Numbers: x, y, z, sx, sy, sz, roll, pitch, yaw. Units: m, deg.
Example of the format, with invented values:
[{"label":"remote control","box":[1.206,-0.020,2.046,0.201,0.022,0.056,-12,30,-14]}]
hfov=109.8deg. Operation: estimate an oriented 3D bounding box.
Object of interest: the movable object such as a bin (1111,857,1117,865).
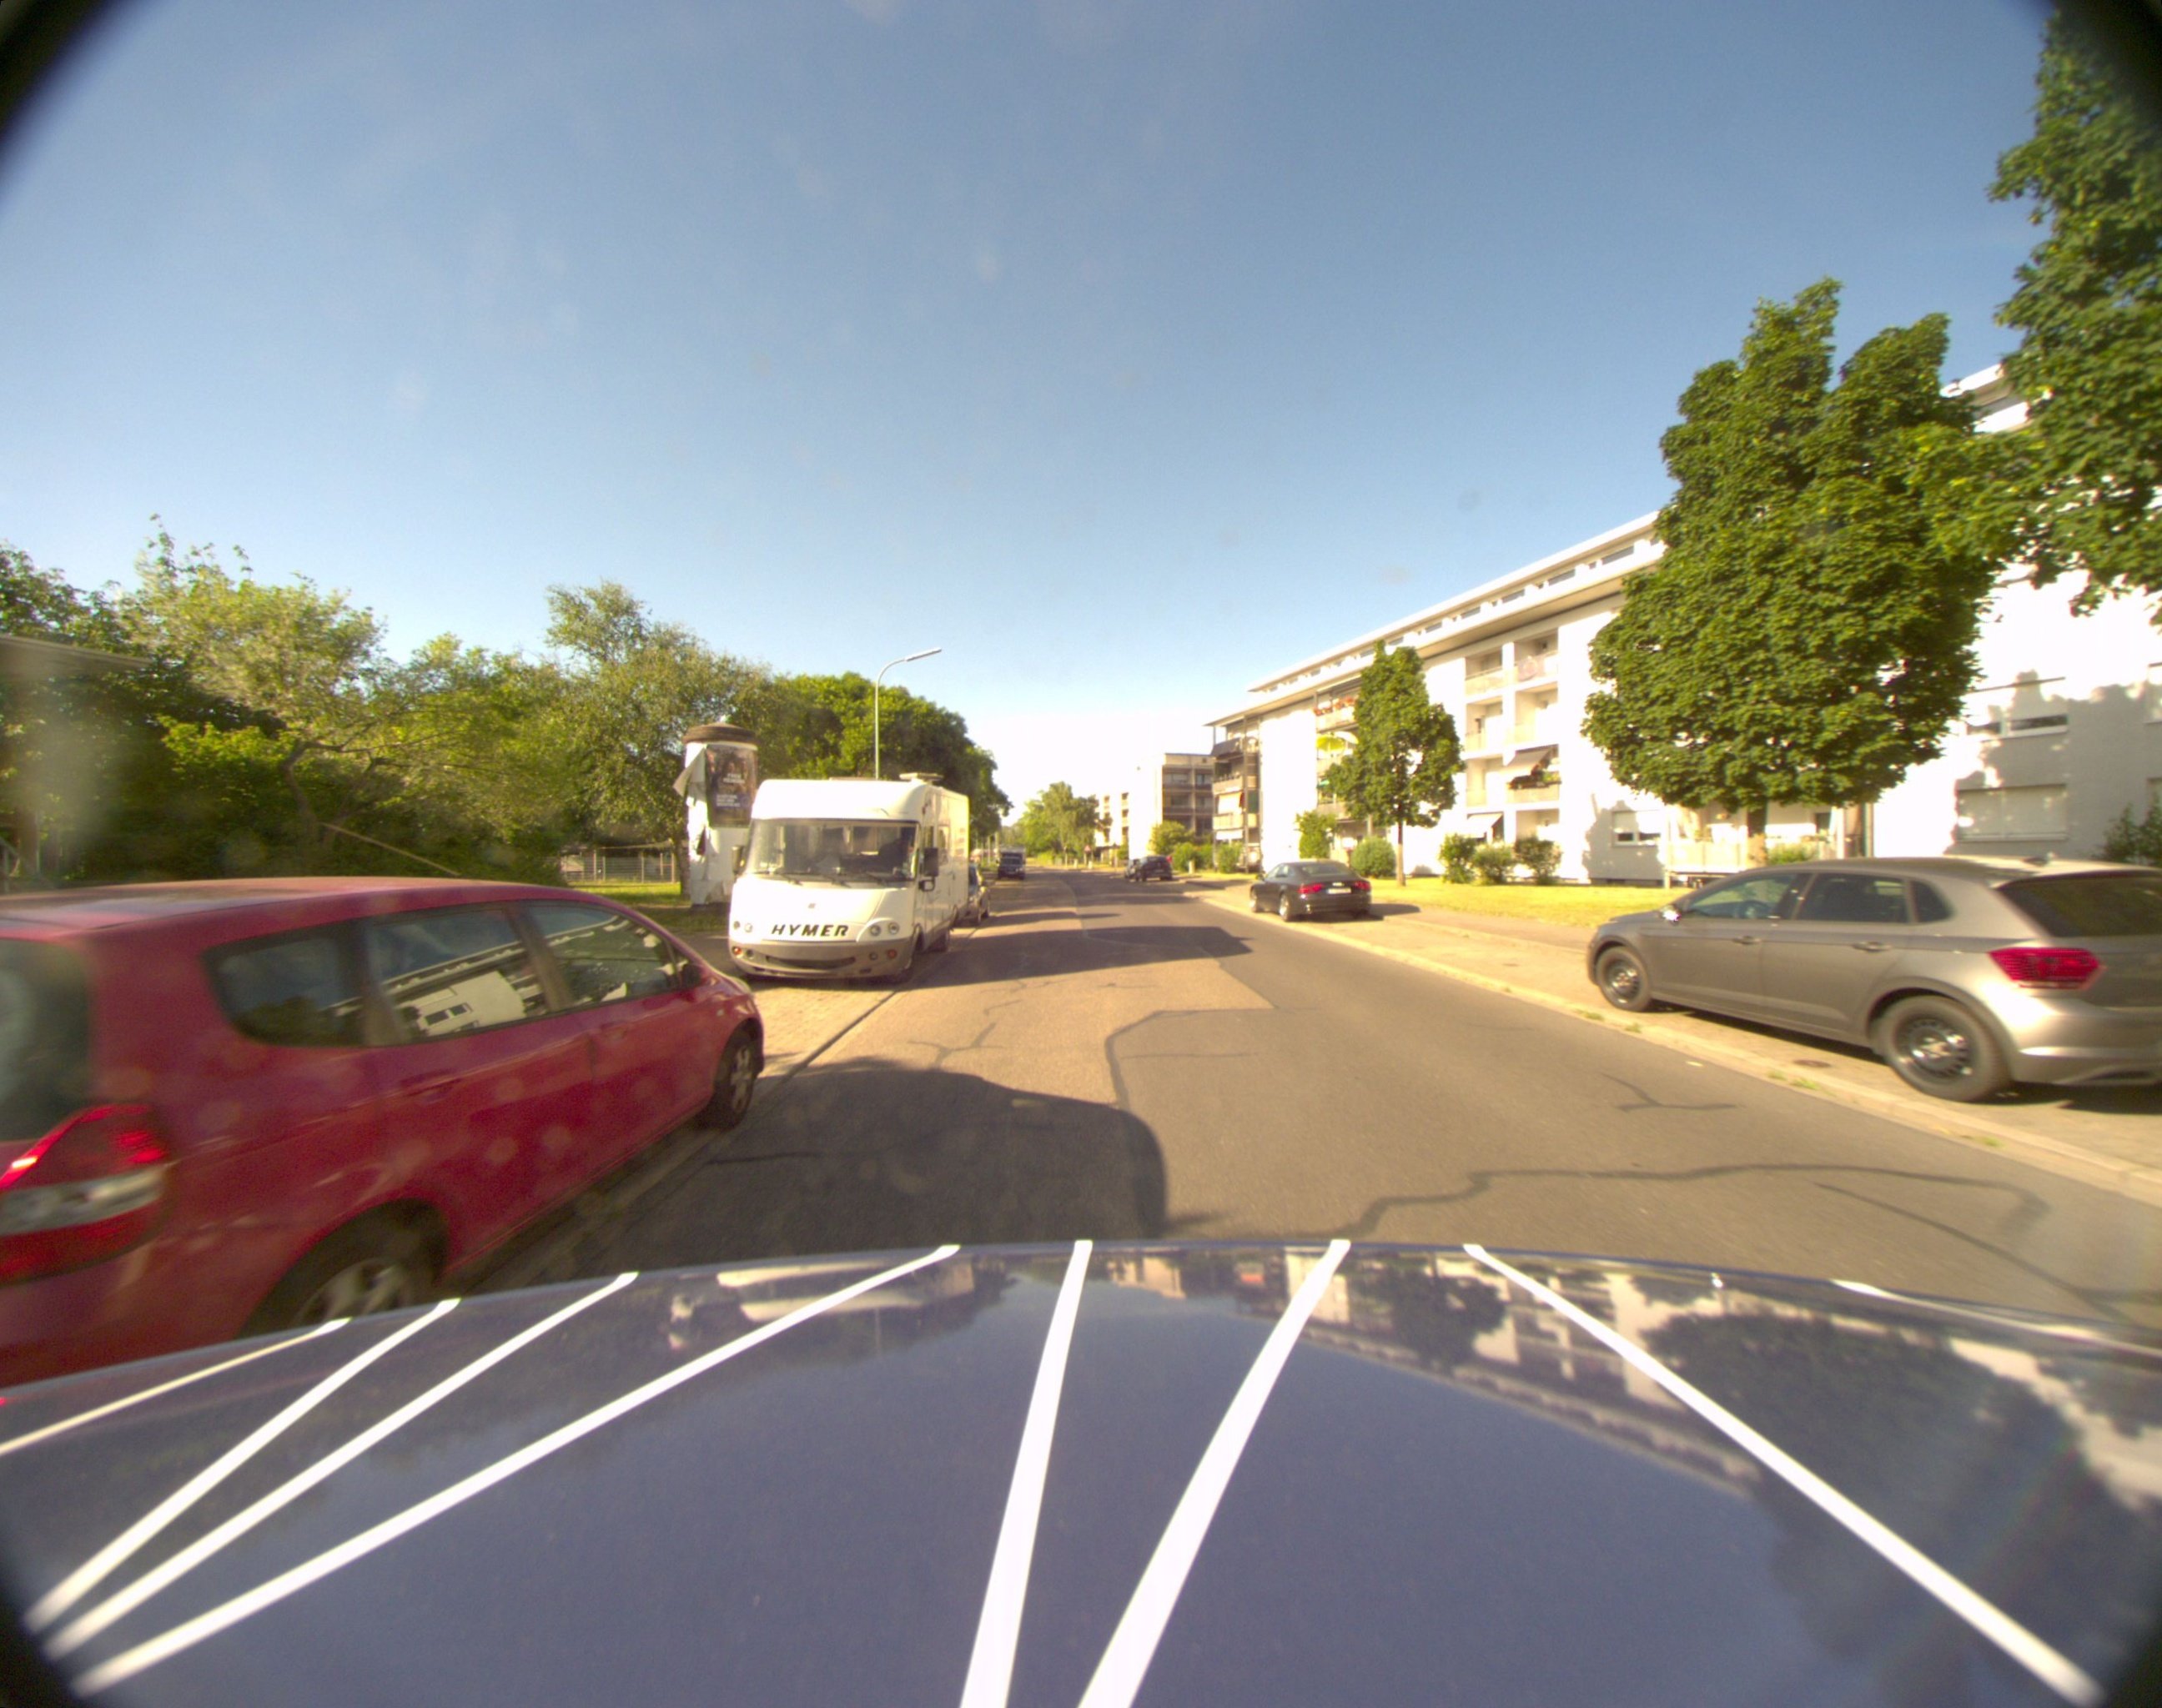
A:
[{"label":"movable object such as a bin","box":[4.537,0.920,103.573,0.566,1.047,0.556,-1,1,-29]}]

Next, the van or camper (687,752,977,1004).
[{"label":"van or camper","box":[-3.276,0.281,12.012,2.503,2.828,6.850,0,0,-2]}]

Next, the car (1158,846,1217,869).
[{"label":"car","box":[11.392,0.393,81.740,5.923,2.414,2.212,0,-1,-7]}]

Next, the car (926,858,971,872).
[{"label":"car","box":[-13.925,1.194,79.794,4.437,1.329,1.746,-1,-1,-2]}]

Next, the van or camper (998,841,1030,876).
[{"label":"van or camper","box":[-5.397,0.352,62.067,2.358,2.581,6.423,3,0,-4]}]

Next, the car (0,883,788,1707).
[{"label":"car","box":[-2.838,0.938,3.174,1.695,1.465,3.999,0,0,0]}]

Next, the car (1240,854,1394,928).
[{"label":"car","box":[5.572,0.787,18.780,2.040,1.484,5.255,-3,0,-1]}]

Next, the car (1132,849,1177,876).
[{"label":"car","box":[4.530,0.501,47.548,1.920,1.594,4.809,0,0,-5]}]

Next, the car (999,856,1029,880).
[{"label":"car","box":[-4.924,0.989,55.298,2.000,1.631,4.534,1,0,-6]}]

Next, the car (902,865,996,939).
[{"label":"car","box":[-3.188,1.102,19.134,1.725,1.515,4.427,3,0,-3]}]

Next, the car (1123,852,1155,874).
[{"label":"car","box":[4.054,0.650,53.821,1.651,1.458,4.329,-1,0,-3]}]

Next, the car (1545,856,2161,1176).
[{"label":"car","box":[5.866,0.829,5.959,1.838,1.509,4.221,-2,1,0]}]

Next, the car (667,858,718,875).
[{"label":"car","box":[-37.843,1.231,74.068,3.877,1.602,1.999,-1,0,-4]}]
